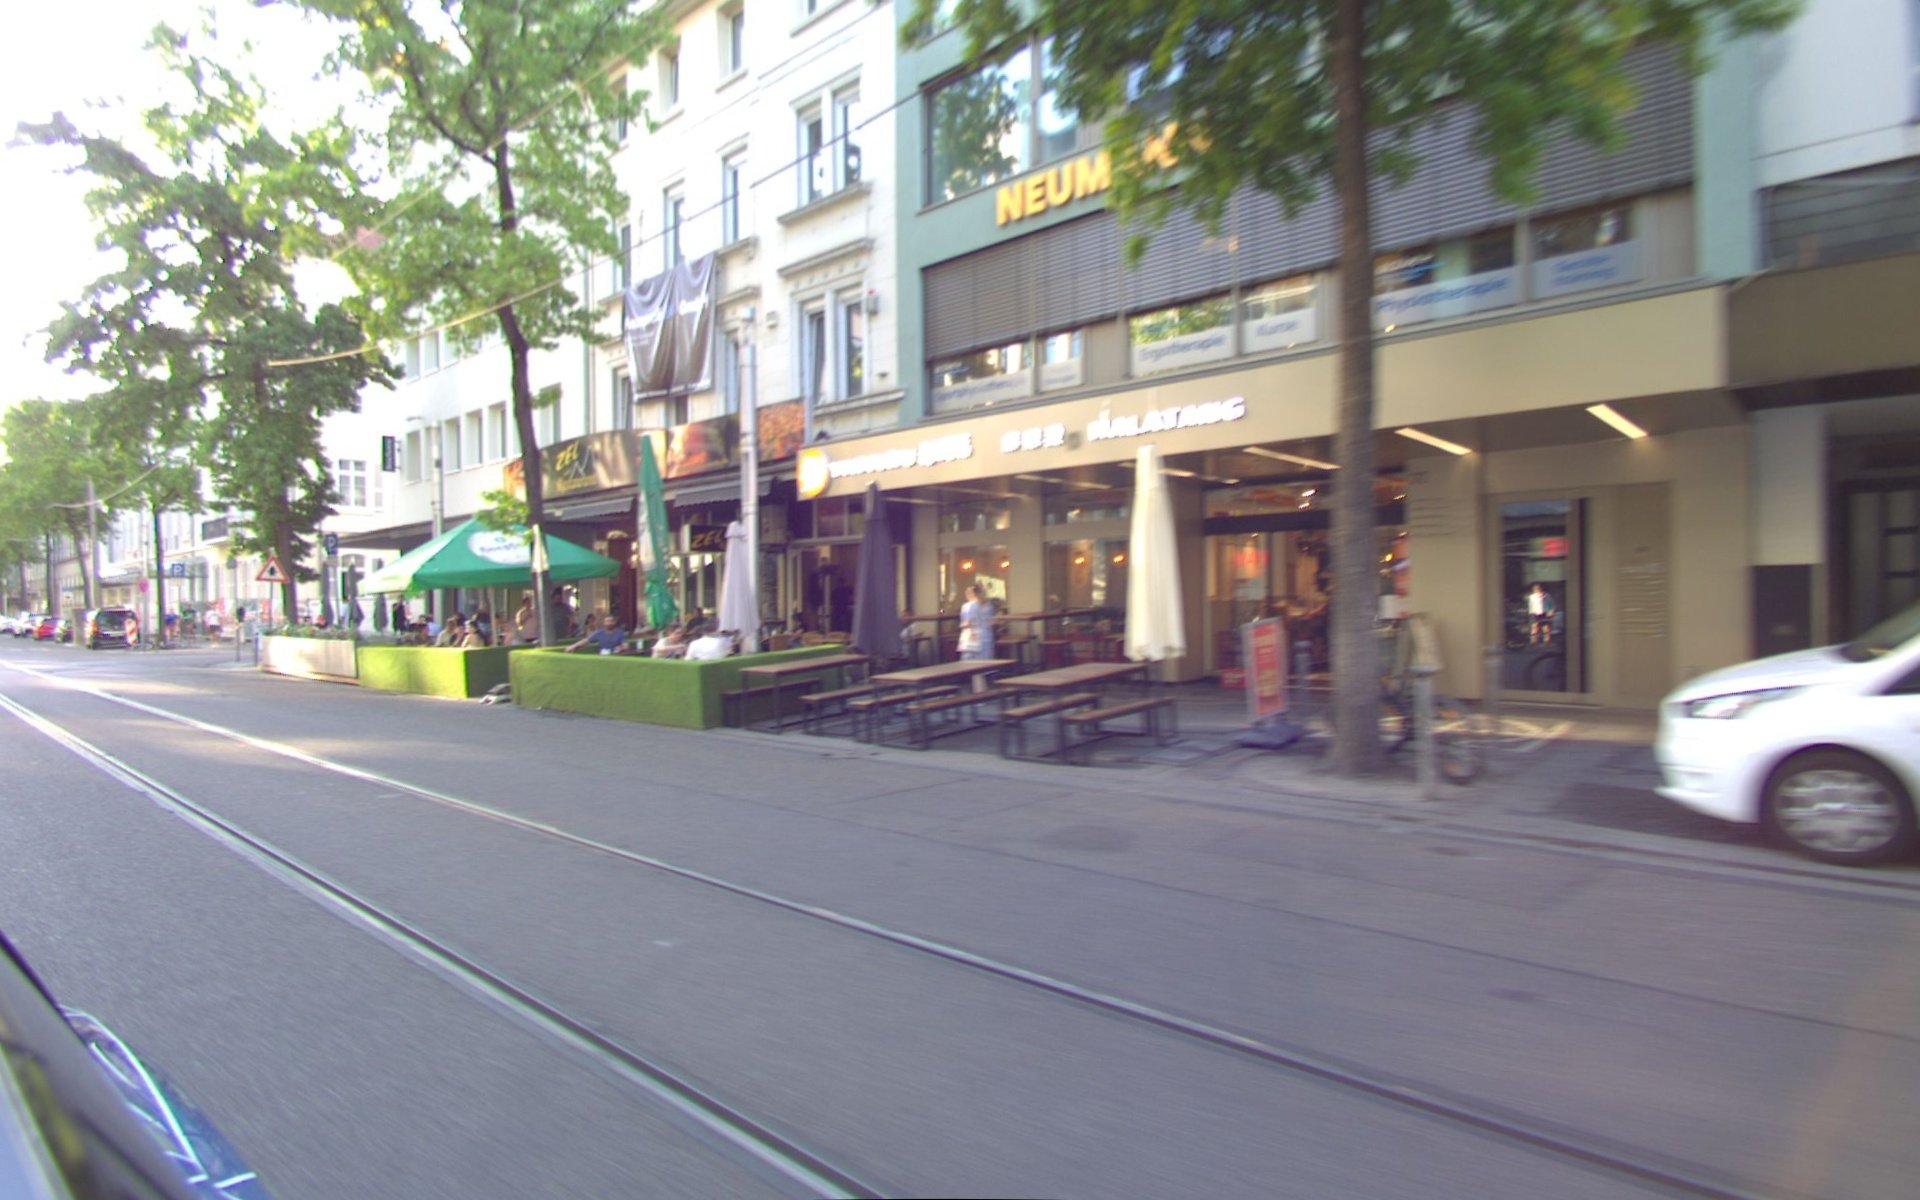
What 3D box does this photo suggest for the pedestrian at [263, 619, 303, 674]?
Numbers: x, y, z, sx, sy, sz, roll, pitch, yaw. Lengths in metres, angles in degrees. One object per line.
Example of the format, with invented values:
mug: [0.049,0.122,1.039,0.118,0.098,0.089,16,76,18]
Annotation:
pedestrian: [-18.029,1.231,26.951,0.807,1.397,0.682,-1,1,43]

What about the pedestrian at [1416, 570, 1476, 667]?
pedestrian: [8.372,0.308,17.435,0.706,1.616,0.690,-1,2,44]

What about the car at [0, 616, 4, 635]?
car: [-90.715,2.445,94.344,4.765,1.754,1.927,-1,2,42]

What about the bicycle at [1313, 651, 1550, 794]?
bicycle: [3.769,0.936,8.298,0.823,0.871,1.864,-3,1,-9]

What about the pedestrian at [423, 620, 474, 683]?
pedestrian: [-11.004,1.093,21.786,0.869,1.269,0.700,-1,1,45]

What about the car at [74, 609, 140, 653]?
car: [-39.511,1.404,46.852,4.560,1.846,1.837,-1,1,44]

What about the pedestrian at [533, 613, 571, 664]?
pedestrian: [-9.902,0.930,24.557,0.687,1.182,0.595,-1,1,43]

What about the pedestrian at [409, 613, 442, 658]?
pedestrian: [-15.863,1.045,30.020,0.727,1.291,0.620,-1,1,43]

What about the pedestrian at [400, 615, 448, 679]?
pedestrian: [-11.991,1.034,22.651,0.781,1.357,0.700,-1,1,45]

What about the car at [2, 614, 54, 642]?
car: [-63.086,1.879,68.488,4.946,1.701,1.847,-1,2,39]

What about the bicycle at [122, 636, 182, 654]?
bicycle: [-32.985,1.820,41.329,1.775,0.613,1.283,-2,1,-45]

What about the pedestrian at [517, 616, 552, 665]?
pedestrian: [-10.590,1.000,25.190,0.687,1.170,0.546,-1,1,43]

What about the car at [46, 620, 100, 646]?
car: [-49.286,1.818,56.219,4.507,1.254,1.700,-1,2,42]

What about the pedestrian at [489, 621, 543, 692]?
pedestrian: [-8.315,1.047,18.955,0.697,1.254,0.612,-1,2,42]

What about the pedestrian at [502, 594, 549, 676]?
pedestrian: [-9.175,0.729,21.354,0.697,1.683,0.612,-1,1,42]

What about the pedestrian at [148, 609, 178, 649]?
pedestrian: [-36.964,1.327,46.954,0.884,1.795,0.856,-1,2,42]

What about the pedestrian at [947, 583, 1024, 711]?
pedestrian: [0.336,0.590,13.176,0.700,1.586,0.640,-1,2,42]

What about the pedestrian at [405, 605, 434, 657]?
pedestrian: [-18.954,1.074,35.468,0.851,1.754,0.800,-1,-1,-29]

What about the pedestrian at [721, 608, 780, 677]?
pedestrian: [-3.995,0.795,19.324,0.788,1.222,0.729,-1,2,42]

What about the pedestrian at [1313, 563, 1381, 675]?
pedestrian: [6.014,0.286,15.723,0.734,1.663,0.690,-1,2,44]

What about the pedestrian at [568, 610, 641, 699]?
pedestrian: [-5.831,0.875,16.596,0.872,1.353,0.746,-1,2,42]

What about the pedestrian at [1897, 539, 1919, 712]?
pedestrian: [8.684,0.201,8.774,0.764,1.477,0.762,-1,2,40]

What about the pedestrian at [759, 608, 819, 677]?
pedestrian: [-3.123,0.763,18.509,0.788,1.176,0.693,-1,2,42]

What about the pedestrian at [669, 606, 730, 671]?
pedestrian: [-5.344,0.768,20.746,0.945,1.246,0.769,-1,2,42]

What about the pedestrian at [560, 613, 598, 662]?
pedestrian: [-9.411,0.910,24.996,0.687,1.167,0.595,-1,1,43]

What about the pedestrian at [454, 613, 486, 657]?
pedestrian: [-13.585,0.955,28.061,0.687,1.170,0.546,-1,1,43]

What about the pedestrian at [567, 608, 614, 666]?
pedestrian: [-8.346,0.832,22.844,0.798,1.251,0.662,-1,1,42]

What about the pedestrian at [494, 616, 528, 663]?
pedestrian: [-11.533,1.010,25.982,0.687,1.170,0.546,-1,1,43]

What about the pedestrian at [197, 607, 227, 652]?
pedestrian: [-31.092,1.209,42.089,0.984,1.805,0.766,-1,2,44]

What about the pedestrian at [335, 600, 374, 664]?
pedestrian: [-17.445,0.912,29.159,0.687,1.805,0.748,-1,1,44]

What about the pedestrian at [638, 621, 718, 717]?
pedestrian: [-3.958,0.941,14.197,0.872,1.253,0.650,-1,2,42]

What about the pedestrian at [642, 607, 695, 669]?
pedestrian: [-6.228,0.804,21.637,0.788,1.241,0.729,-1,2,42]

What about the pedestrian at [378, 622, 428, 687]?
pedestrian: [-11.656,1.124,21.177,0.772,1.269,0.700,-1,1,45]

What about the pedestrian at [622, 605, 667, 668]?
pedestrian: [-6.983,0.795,22.381,0.697,1.319,0.612,-1,2,42]

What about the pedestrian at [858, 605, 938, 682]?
pedestrian: [-1.036,0.704,16.792,1.064,1.197,0.745,-1,2,42]

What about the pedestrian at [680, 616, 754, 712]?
pedestrian: [-3.528,0.912,14.703,0.798,1.302,0.650,-1,2,42]

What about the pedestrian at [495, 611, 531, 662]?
pedestrian: [-11.879,0.967,26.880,0.687,1.308,0.595,-1,1,43]

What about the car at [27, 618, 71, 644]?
car: [-55.875,1.893,62.051,4.141,1.416,1.642,-1,2,43]

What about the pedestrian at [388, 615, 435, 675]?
pedestrian: [-12.614,1.020,23.269,0.807,1.321,0.682,-1,1,43]

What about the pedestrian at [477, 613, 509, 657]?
pedestrian: [-13.087,0.976,28.376,0.687,1.170,0.546,-1,1,43]

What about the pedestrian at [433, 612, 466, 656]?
pedestrian: [-15.369,1.020,30.453,0.738,1.279,0.638,-1,1,43]

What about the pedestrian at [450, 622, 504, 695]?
pedestrian: [-8.766,1.051,18.369,0.697,1.254,0.612,-1,2,42]

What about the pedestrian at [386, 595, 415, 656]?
pedestrian: [-17.356,0.775,31.415,0.675,1.829,0.766,-3,1,-32]

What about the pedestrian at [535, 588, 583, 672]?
pedestrian: [-8.712,0.647,21.996,0.697,1.770,0.670,-1,1,44]

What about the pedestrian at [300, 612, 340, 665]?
pedestrian: [-17.433,1.039,27.560,0.807,1.397,0.682,-1,1,43]

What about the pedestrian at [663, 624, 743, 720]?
pedestrian: [-3.482,0.952,13.712,0.798,1.202,0.650,-1,2,42]

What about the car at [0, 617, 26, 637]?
car: [-76.433,2.144,81.143,4.616,1.477,1.872,-1,2,43]

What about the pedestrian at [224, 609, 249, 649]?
pedestrian: [-31.088,1.248,43.474,0.967,1.669,0.699,-2,-1,44]

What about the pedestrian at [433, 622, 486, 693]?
pedestrian: [-9.454,1.070,19.116,0.697,1.254,0.612,-1,2,42]

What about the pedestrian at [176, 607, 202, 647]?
pedestrian: [-36.269,1.275,47.594,0.876,1.826,0.711,-1,2,42]

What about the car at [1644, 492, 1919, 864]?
car: [6.255,0.332,4.965,4.554,1.878,1.776,-1,2,44]
